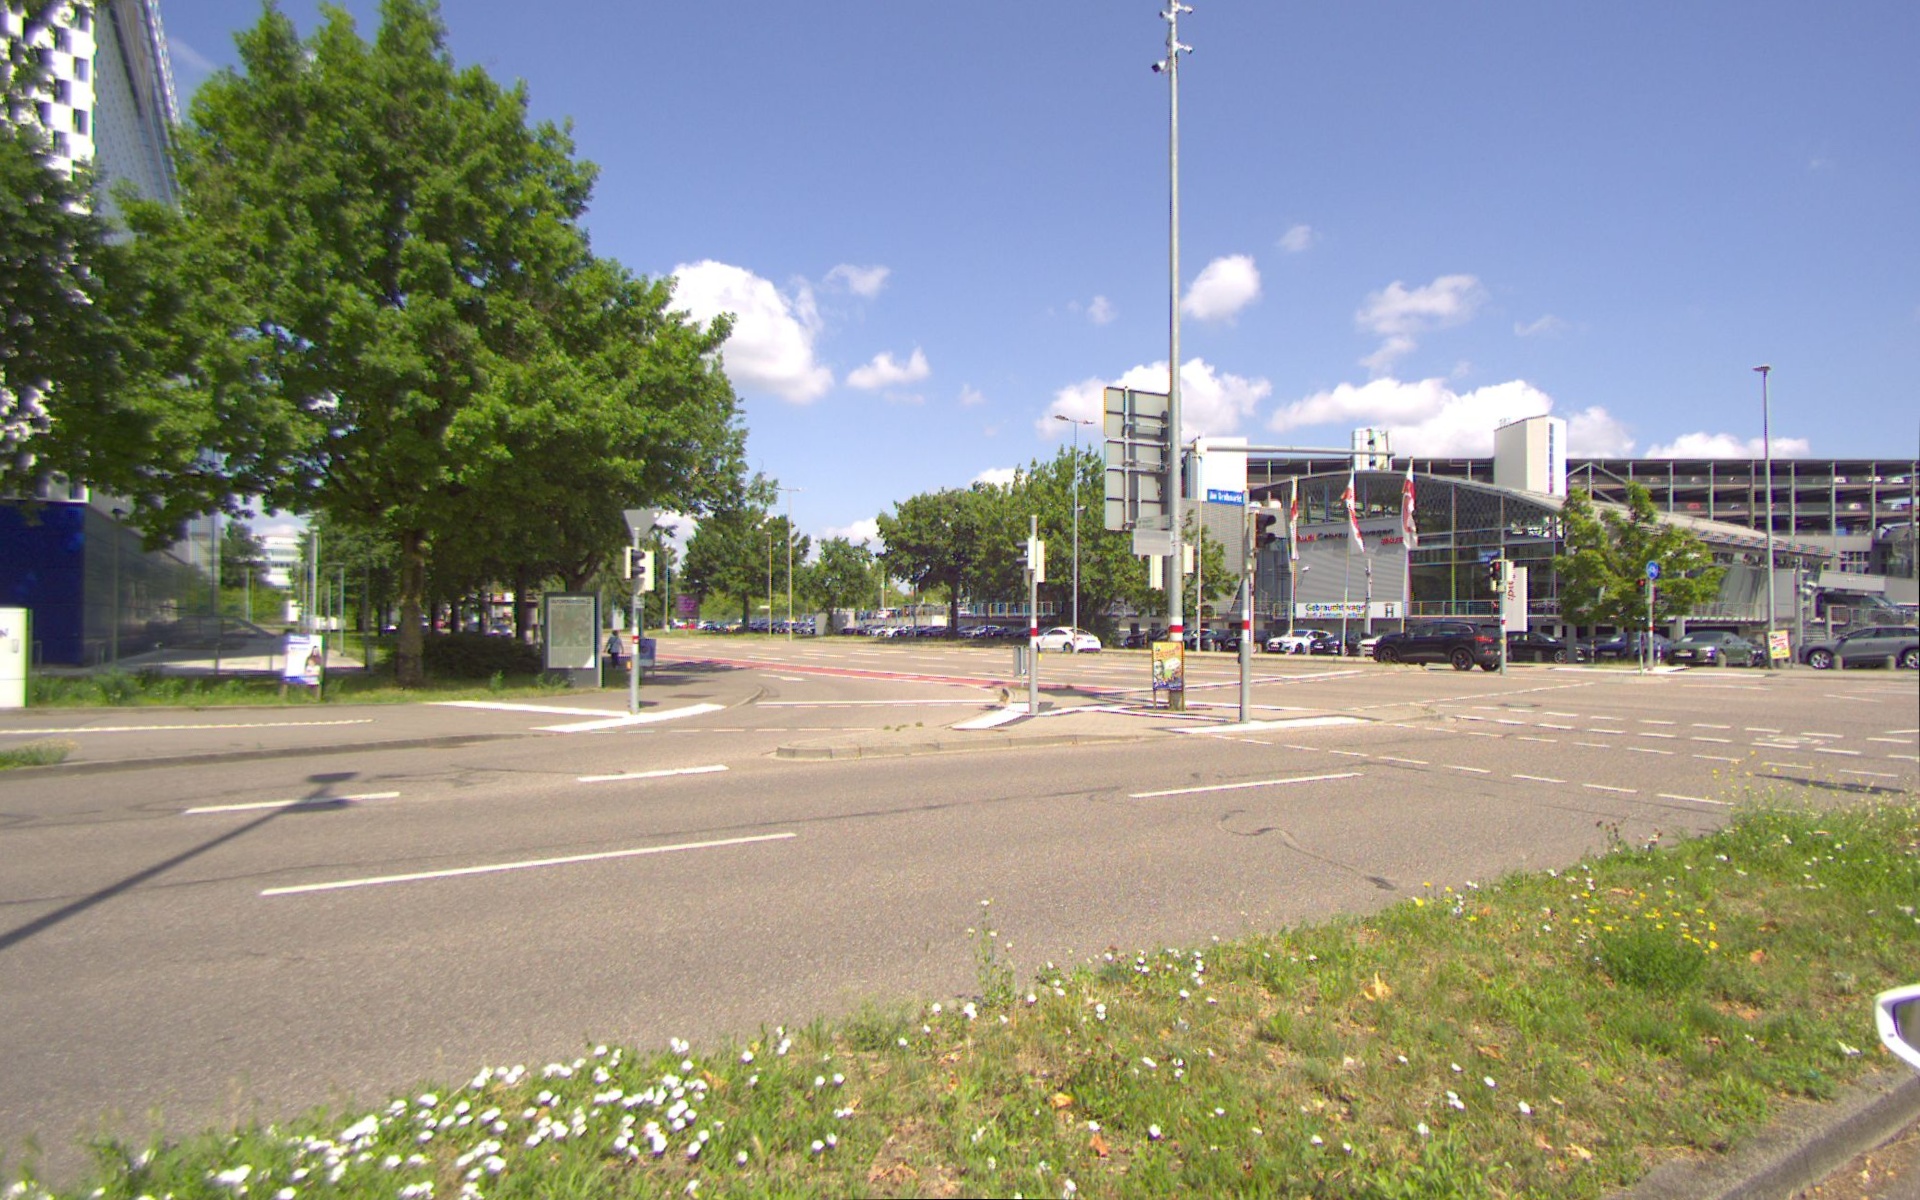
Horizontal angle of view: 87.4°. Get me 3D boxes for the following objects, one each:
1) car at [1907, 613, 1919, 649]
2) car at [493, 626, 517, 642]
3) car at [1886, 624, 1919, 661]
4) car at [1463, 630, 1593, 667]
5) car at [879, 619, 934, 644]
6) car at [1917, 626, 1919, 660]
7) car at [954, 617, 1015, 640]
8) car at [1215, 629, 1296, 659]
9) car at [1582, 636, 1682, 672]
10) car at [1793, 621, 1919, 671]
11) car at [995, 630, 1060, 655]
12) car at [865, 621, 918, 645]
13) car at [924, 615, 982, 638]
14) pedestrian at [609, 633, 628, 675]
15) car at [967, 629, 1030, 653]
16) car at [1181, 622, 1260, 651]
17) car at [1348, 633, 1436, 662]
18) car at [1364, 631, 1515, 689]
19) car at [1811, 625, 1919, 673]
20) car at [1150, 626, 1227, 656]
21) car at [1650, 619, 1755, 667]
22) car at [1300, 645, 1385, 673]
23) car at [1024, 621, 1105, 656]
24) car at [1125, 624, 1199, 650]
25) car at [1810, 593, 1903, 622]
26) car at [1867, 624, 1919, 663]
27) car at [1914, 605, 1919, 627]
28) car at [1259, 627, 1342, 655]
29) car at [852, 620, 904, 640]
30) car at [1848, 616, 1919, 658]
[{"bbox_3d":[47.684,1.529,47.030,1.887,1.700,4.548,2,-1,-33],"label":"car"},{"bbox_3d":[-46.161,3.458,101.868,1.873,1.575,4.553,1,-2,-29],"label":"car"},{"bbox_3d":[45.382,1.998,45.632,1.887,1.700,4.548,2,-1,-33],"label":"car"},{"bbox_3d":[25.170,2.128,44.667,1.779,1.483,4.710,5,-4,-35],"label":"car"},{"bbox_3d":[-4.758,2.853,89.574,4.544,2.076,1.888,2,-1,-35],"label":"car"},{"bbox_3d":[49.790,2.185,48.730,1.887,1.700,4.548,2,-1,-33],"label":"car"},{"bbox_3d":[1.978,2.250,79.188,4.544,1.700,1.888,2,-1,-35],"label":"car"},{"bbox_3d":[16.585,2.460,56.299,4.546,1.314,1.888,6,-3,-35],"label":"car"},{"bbox_3d":[27.377,2.196,40.881,4.544,1.314,1.888,3,-1,-35],"label":"car"},{"bbox_3d":[34.547,1.735,37.829,1.887,1.700,4.548,2,-1,-33],"label":"car"},{"bbox_3d":[5.009,3.153,74.092,4.544,1.700,1.888,2,-1,-35],"label":"car"},{"bbox_3d":[-6.239,3.021,91.817,4.544,2.076,1.888,2,-1,-35],"label":"car"},{"bbox_3d":[-0.575,2.195,82.754,4.544,1.700,1.888,2,-1,-35],"label":"car"},{"bbox_3d":[-12.969,2.032,38.165,0.499,1.576,0.753,1,-1,-34],"label":"pedestrian"},{"bbox_3d":[2.941,3.135,76.476,4.544,1.700,1.888,2,-1,-35],"label":"car"},{"bbox_3d":[15.151,2.099,58.341,4.545,1.402,1.888,5,-2,-35],"label":"car"},{"bbox_3d":[21.332,2.336,49.498,4.544,1.314,1.888,3,-1,-35],"label":"car"},{"bbox_3d":[15.766,1.923,33.239,1.757,1.639,4.234,2,-1,-30],"label":"car"},{"bbox_3d":[36.648,1.926,39.464,1.887,1.700,4.548,2,-1,-33],"label":"car"},{"bbox_3d":[13.771,2.483,60.448,4.546,1.423,1.888,6,-3,-35],"label":"car"},{"bbox_3d":[28.466,1.643,38.476,4.544,1.700,1.888,2,-1,-35],"label":"car"},{"bbox_3d":[19.687,3.023,51.639,4.544,1.314,1.888,3,-1,-35],"label":"car"},{"bbox_3d":[5.015,1.843,48.641,1.840,1.461,3.965,2,-1,-32],"label":"car"},{"bbox_3d":[12.589,2.304,62.490,4.545,1.423,1.888,4,-1,-35],"label":"car"},{"bbox_3d":[61.186,0.511,68.620,1.748,1.825,4.411,2,-1,-35],"label":"car"},{"bbox_3d":[43.203,1.960,44.193,1.887,1.700,4.548,2,-1,-33],"label":"car"},{"bbox_3d":[72.633,1.207,73.536,1.752,1.572,3.951,2,-1,-41],"label":"car"},{"bbox_3d":[18.325,2.212,54.003,4.544,1.314,1.888,3,-1,-35],"label":"car"},{"bbox_3d":[-7.688,2.831,94.394,4.544,1.700,1.888,2,-1,-35],"label":"car"},{"bbox_3d":[41.105,1.621,42.803,1.887,1.700,4.548,2,-1,-33],"label":"car"}]
